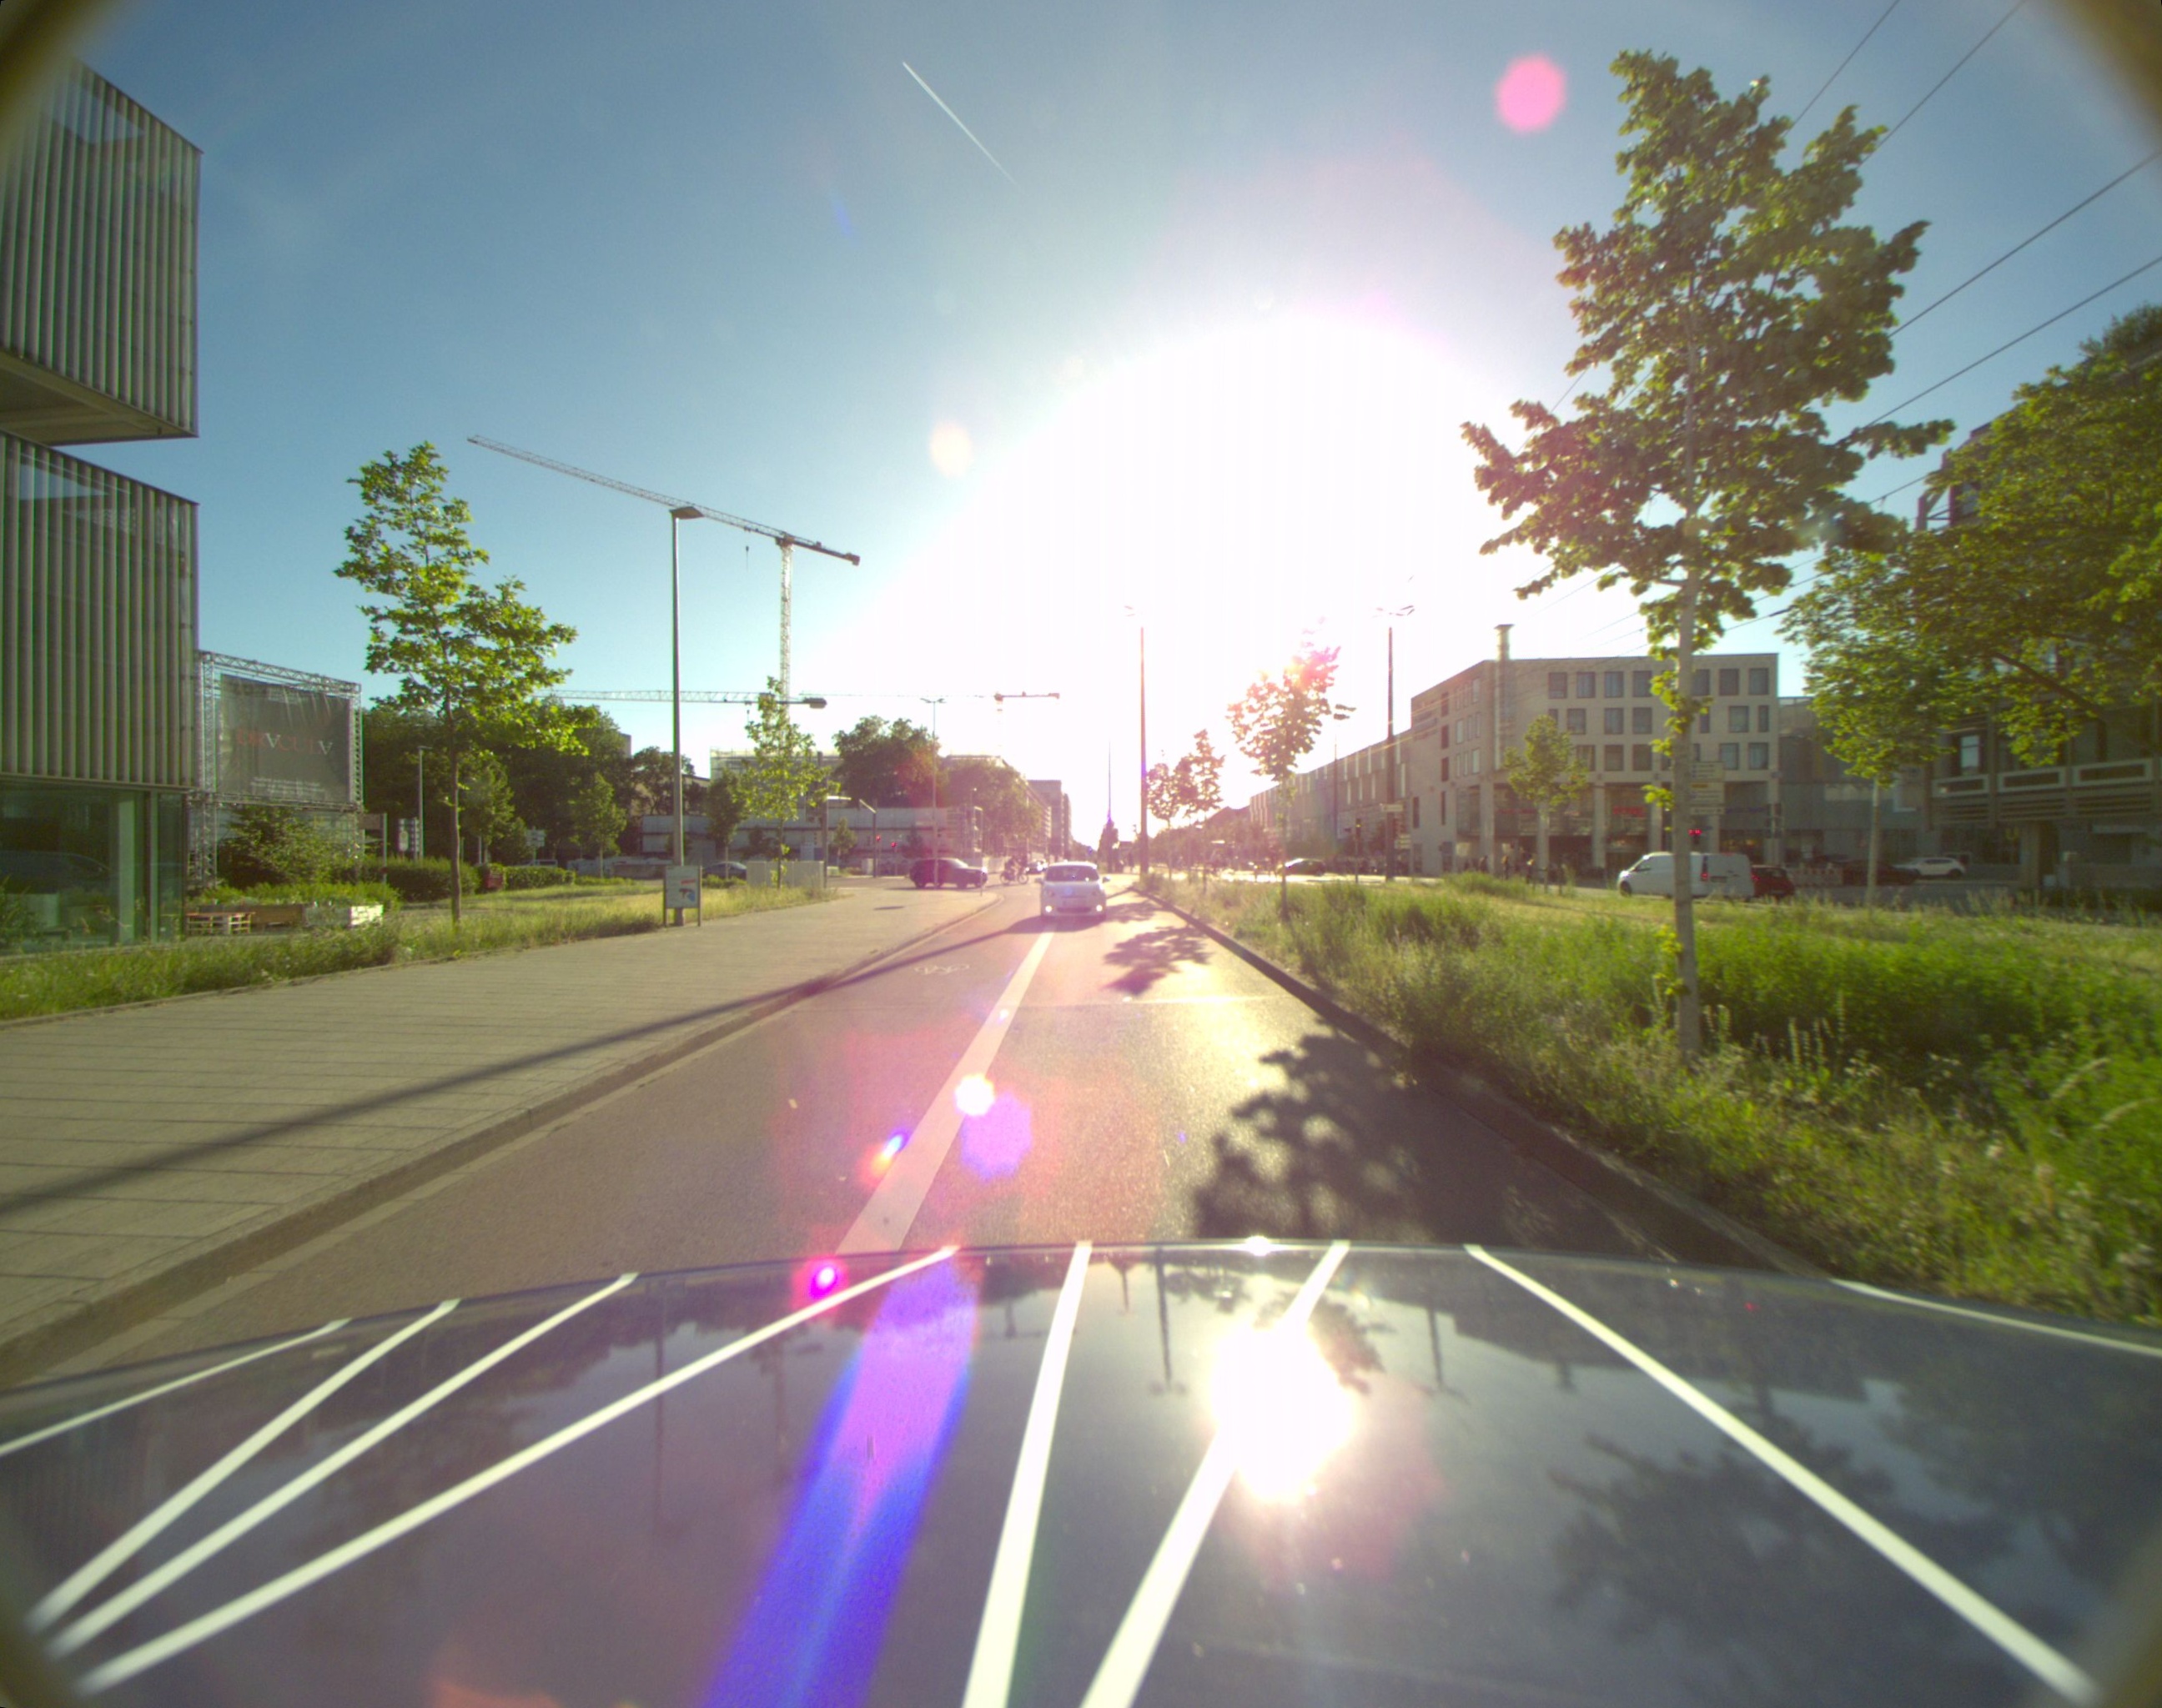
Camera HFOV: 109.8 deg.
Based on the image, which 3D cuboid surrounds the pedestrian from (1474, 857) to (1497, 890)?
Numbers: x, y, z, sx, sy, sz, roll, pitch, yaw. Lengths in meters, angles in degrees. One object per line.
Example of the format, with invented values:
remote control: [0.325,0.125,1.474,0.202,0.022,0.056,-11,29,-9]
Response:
pedestrian: [21.620,1.032,40.599,0.739,1.734,0.858,-1,0,-1]

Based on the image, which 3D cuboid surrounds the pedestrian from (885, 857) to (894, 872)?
pedestrian: [-20.599,1.115,81.709,0.653,1.579,0.841,0,0,7]

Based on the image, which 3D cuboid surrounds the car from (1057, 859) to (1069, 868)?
car: [-2.783,1.494,118.625,1.785,1.317,3.999,0,1,1]

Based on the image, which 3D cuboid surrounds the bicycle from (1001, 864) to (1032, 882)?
bicycle: [-3.963,1.159,46.623,1.798,1.087,0.652,0,0,7]

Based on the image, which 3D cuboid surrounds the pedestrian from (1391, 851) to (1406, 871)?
pedestrian: [31.604,0.669,75.697,1.025,2.002,0.915,0,1,-31]

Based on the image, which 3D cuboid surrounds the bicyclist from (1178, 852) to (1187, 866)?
bicyclist: [9.947,0.487,74.308,0.842,1.394,0.806,-1,1,11]

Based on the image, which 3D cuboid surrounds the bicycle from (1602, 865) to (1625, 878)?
bicycle: [47.804,1.527,68.253,0.683,1.104,2.477,0,0,8]

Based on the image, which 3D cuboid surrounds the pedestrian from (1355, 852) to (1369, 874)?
pedestrian: [28.014,0.887,75.774,0.948,2.111,0.896,0,1,-28]

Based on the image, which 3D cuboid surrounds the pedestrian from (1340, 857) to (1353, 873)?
pedestrian: [25.816,1.056,73.836,0.843,1.562,0.943,-1,1,-39]

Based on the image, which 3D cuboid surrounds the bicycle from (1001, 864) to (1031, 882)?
bicycle: [-4.047,1.169,47.398,1.814,1.110,0.626,0,0,6]

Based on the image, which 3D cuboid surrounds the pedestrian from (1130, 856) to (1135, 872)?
pedestrian: [5.233,1.015,77.315,0.450,1.557,0.520,-1,1,7]

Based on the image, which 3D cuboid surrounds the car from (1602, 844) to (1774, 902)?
car: [23.587,0.666,29.926,2.264,2.002,5.709,2,0,2]

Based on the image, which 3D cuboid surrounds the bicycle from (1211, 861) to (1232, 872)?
bicycle: [13.543,1.227,73.368,1.975,0.991,0.649,-1,0,9]

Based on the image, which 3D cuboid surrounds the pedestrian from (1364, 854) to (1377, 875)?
pedestrian: [29.718,1.043,77.959,0.947,2.111,0.897,0,1,-13]

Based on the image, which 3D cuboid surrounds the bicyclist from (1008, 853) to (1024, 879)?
bicyclist: [-4.038,0.741,47.401,0.893,1.566,0.626,0,0,6]

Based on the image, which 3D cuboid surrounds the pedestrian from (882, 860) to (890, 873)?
pedestrian: [-20.769,1.339,80.887,0.653,1.445,0.604,0,0,7]

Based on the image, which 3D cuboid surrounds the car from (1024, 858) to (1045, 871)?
car: [-5.345,1.201,88.121,1.998,1.368,4.001,-1,0,2]

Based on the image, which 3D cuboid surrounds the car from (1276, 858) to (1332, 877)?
car: [18.819,1.131,64.324,4.289,1.571,1.945,0,0,5]

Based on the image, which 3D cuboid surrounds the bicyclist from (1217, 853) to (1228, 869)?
bicyclist: [13.666,0.632,73.349,0.940,1.536,0.649,-1,0,9]

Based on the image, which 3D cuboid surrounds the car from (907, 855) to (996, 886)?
car: [-7.437,0.918,43.602,4.779,1.652,2.004,0,0,28]

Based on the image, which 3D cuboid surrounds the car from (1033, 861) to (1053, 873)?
car: [-4.704,1.625,94.345,1.998,1.368,4.001,-1,0,2]

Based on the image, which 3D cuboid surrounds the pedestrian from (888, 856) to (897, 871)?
pedestrian: [-20.494,1.042,82.624,0.653,1.670,0.841,0,0,7]

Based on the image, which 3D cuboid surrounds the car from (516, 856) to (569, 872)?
car: [-66.685,1.193,94.221,1.997,1.880,5.335,-1,0,12]

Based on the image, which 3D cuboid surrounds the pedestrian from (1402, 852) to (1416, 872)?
pedestrian: [32.858,0.797,76.142,1.025,2.002,0.915,0,1,-33]

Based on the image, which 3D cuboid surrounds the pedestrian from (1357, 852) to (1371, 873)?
pedestrian: [27.670,0.834,74.298,0.948,2.111,0.896,0,1,-34]

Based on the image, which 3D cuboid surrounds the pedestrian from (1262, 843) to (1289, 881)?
pedestrian: [9.858,0.399,38.544,1.050,1.900,1.015,0,1,-1]

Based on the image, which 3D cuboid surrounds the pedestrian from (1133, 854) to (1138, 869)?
pedestrian: [5.640,0.766,78.528,0.450,1.557,0.520,-1,1,7]

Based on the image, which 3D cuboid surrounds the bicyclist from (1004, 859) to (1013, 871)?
bicyclist: [-7.928,1.173,83.420,0.636,1.263,0.807,-1,1,23]

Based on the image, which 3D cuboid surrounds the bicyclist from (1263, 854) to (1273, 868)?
bicyclist: [19.045,0.731,77.468,0.841,1.349,0.805,-1,1,1]

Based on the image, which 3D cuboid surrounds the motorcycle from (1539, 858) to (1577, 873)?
motorcycle: [30.930,0.729,49.268,1.956,0.963,0.758,0,1,14]

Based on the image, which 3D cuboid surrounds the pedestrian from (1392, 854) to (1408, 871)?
pedestrian: [30.663,0.835,72.986,0.950,1.641,1.005,-1,1,-32]

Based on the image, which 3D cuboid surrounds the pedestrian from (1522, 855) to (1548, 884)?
pedestrian: [24.858,0.826,41.586,0.925,1.540,0.896,-2,0,-35]

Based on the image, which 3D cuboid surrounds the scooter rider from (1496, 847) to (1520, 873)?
scooter rider: [25.838,0.369,45.966,1.116,1.535,0.644,0,1,4]

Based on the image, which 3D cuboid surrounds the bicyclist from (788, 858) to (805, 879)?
bicyclist: [-20.298,1.017,54.196,0.937,1.495,0.624,-1,1,-5]

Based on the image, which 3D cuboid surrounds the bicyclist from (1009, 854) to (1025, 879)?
bicyclist: [-3.943,0.747,46.620,0.846,1.534,0.653,0,0,9]

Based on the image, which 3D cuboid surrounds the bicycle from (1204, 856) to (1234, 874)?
bicycle: [8.431,0.652,46.376,1.797,1.087,0.710,0,0,13]

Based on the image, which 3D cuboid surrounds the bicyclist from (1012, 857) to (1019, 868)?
bicyclist: [-7.393,0.958,86.065,0.805,1.290,0.776,-1,1,-4]

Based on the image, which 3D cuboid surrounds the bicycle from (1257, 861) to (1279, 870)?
bicycle: [19.058,1.188,77.470,2.075,0.922,0.805,-1,0,1]

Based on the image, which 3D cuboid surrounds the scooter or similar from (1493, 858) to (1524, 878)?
scooter or similar: [25.842,0.851,45.964,1.482,1.169,0.644,0,1,4]

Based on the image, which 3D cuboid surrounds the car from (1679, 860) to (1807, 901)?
car: [26.670,1.023,30.799,1.844,1.477,3.880,3,0,2]

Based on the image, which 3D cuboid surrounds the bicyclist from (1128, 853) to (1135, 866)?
bicyclist: [6.156,0.660,92.713,0.755,1.496,0.618,0,0,5]

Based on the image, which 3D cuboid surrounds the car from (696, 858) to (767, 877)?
car: [-25.762,0.996,56.102,4.520,1.344,1.777,0,1,7]

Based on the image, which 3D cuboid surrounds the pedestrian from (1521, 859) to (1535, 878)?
pedestrian: [39.715,1.300,67.529,0.756,1.730,0.753,0,1,4]

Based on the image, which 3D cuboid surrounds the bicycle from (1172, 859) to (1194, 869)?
bicycle: [9.996,0.958,74.303,2.074,0.973,0.806,-1,1,11]

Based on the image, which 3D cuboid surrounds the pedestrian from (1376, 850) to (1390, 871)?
pedestrian: [30.715,0.657,77.237,0.948,2.111,0.896,0,1,-23]

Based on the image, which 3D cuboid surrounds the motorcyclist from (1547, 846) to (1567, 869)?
motorcyclist: [30.868,0.205,49.277,0.880,1.475,0.758,0,1,14]

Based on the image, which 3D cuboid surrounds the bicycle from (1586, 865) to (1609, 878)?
bicycle: [46.465,1.537,68.383,0.657,1.106,2.412,0,0,7]

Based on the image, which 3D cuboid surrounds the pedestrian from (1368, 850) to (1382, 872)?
pedestrian: [29.345,0.691,75.823,0.948,2.111,0.896,0,1,-26]

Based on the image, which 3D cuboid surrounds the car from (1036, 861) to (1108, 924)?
car: [-0.150,0.946,20.286,1.659,1.463,3.969,-1,0,2]

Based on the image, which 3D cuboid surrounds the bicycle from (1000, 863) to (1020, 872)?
bicycle: [-7.766,1.492,83.352,2.072,0.922,0.807,-1,0,23]

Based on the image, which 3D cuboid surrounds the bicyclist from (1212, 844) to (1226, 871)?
bicyclist: [8.426,0.211,46.362,0.785,1.659,0.702,0,0,14]

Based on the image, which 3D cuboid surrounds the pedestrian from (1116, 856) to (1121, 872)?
pedestrian: [3.813,1.011,77.372,0.450,1.557,0.520,-1,1,7]

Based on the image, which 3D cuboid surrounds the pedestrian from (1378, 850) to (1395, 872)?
pedestrian: [29.701,0.678,73.865,1.100,2.116,1.060,-1,1,-33]

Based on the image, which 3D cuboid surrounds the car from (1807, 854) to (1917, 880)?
car: [50.126,0.826,48.815,4.788,1.652,2.201,0,0,0]

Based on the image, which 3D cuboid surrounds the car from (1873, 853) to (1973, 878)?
car: [61.577,0.827,55.658,4.544,1.703,2.126,0,2,10]
